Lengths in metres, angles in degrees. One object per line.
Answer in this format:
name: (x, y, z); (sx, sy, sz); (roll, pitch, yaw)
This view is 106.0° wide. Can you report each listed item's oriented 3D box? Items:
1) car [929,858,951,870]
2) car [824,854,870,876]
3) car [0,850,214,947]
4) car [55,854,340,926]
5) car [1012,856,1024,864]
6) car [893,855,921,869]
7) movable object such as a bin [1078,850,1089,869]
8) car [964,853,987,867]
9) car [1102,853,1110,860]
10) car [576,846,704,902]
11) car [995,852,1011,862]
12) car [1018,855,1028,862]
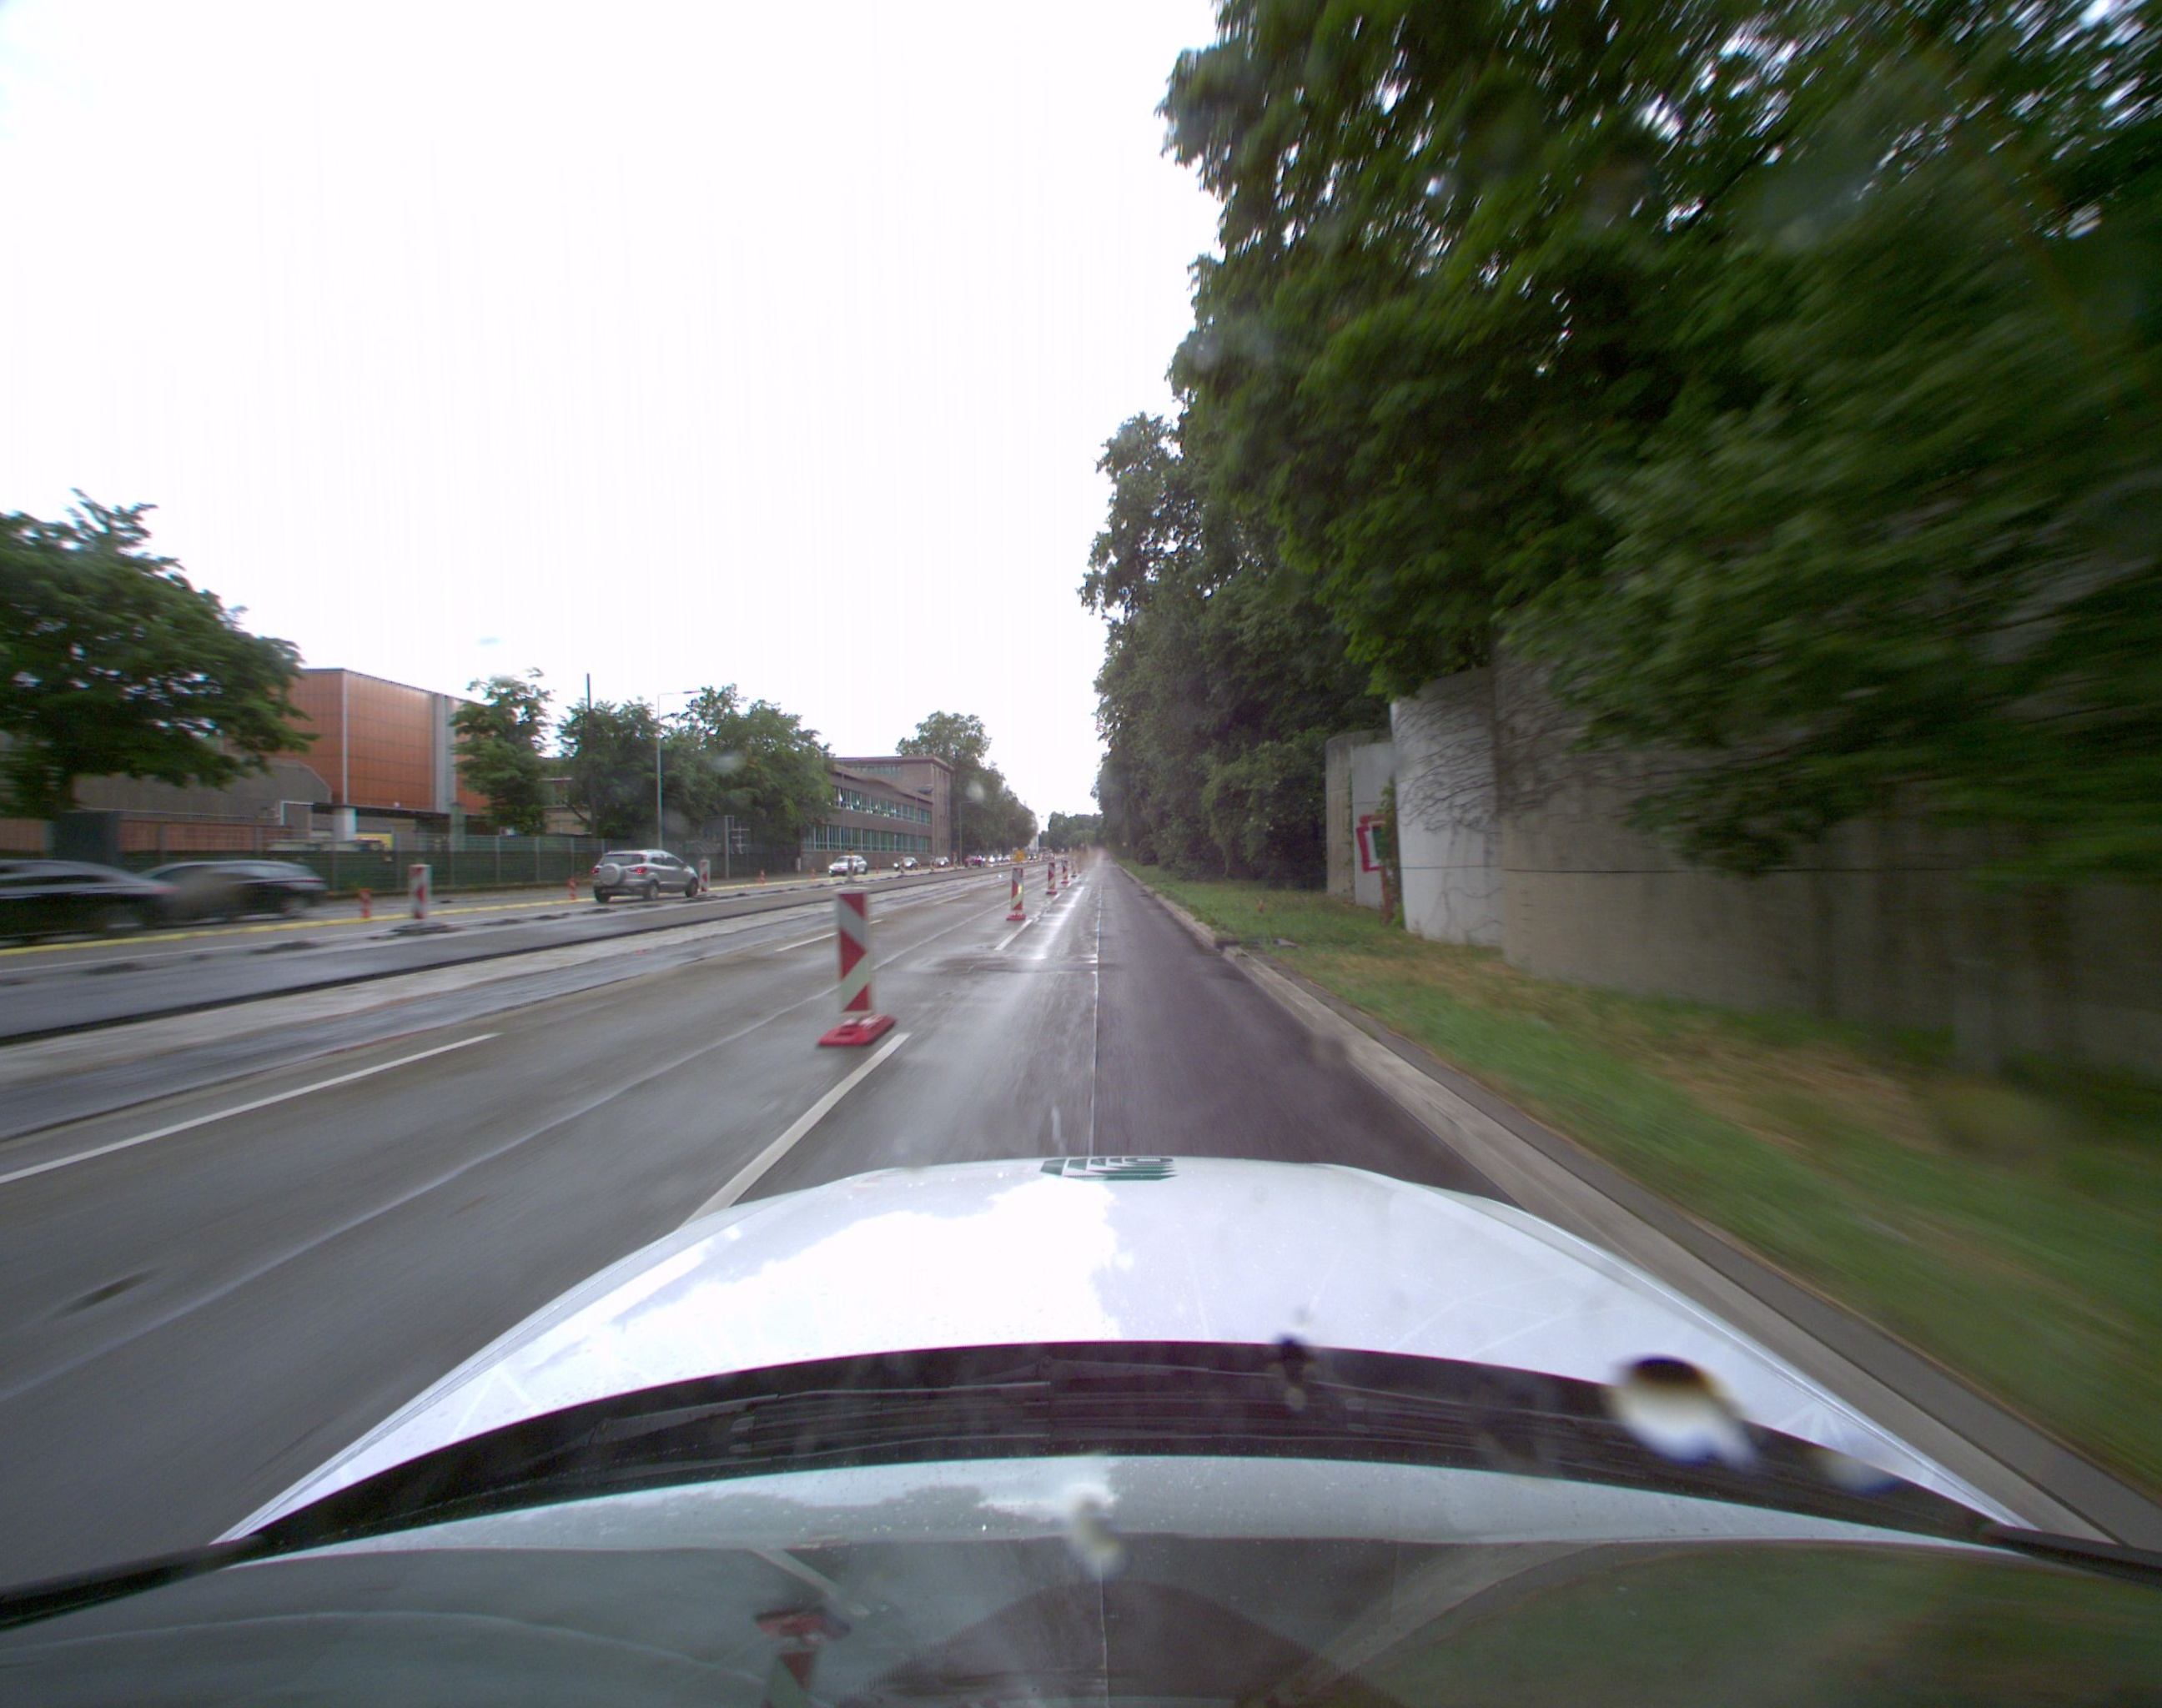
car: (-17.763, 1.219, 102.704); (2.040, 1.454, 4.762); (0, 0, -1)
car: (-16.838, 0.790, 58.854); (1.986, 1.513, 4.267); (0, 0, 2)
car: (-17.816, 0.693, 13.153); (2.070, 1.513, 5.091); (0, 0, 2)
car: (-20.636, 0.772, 19.366); (1.986, 1.518, 4.306); (0, 0, 1)
car: (-13.068, 1.236, 169.255); (1.886, 1.502, 4.519); (0, 0, 3)
car: (-18.351, 0.837, 86.197); (1.987, 1.429, 4.265); (0, 0, 0)
movable object such as a bin: (0.447, 1.023, 152.397); (1.986, 3.367, 5.984); (0, -1, 2)
car: (-12.164, 0.685, 94.119); (1.986, 1.519, 4.001); (0, 0, 1)
car: (6.132, 0.635, 200.013); (1.986, 1.673, 4.001); (0, 0, 2)
car: (-14.081, 0.610, 26.307); (1.848, 1.648, 4.001); (0, 0, 1)
car: (-13.369, 0.559, 139.575); (1.980, 1.768, 4.678); (0, 0, 3)
car: (-12.617, 0.978, 177.692); (1.797, 1.534, 3.993); (0, 0, 1)
